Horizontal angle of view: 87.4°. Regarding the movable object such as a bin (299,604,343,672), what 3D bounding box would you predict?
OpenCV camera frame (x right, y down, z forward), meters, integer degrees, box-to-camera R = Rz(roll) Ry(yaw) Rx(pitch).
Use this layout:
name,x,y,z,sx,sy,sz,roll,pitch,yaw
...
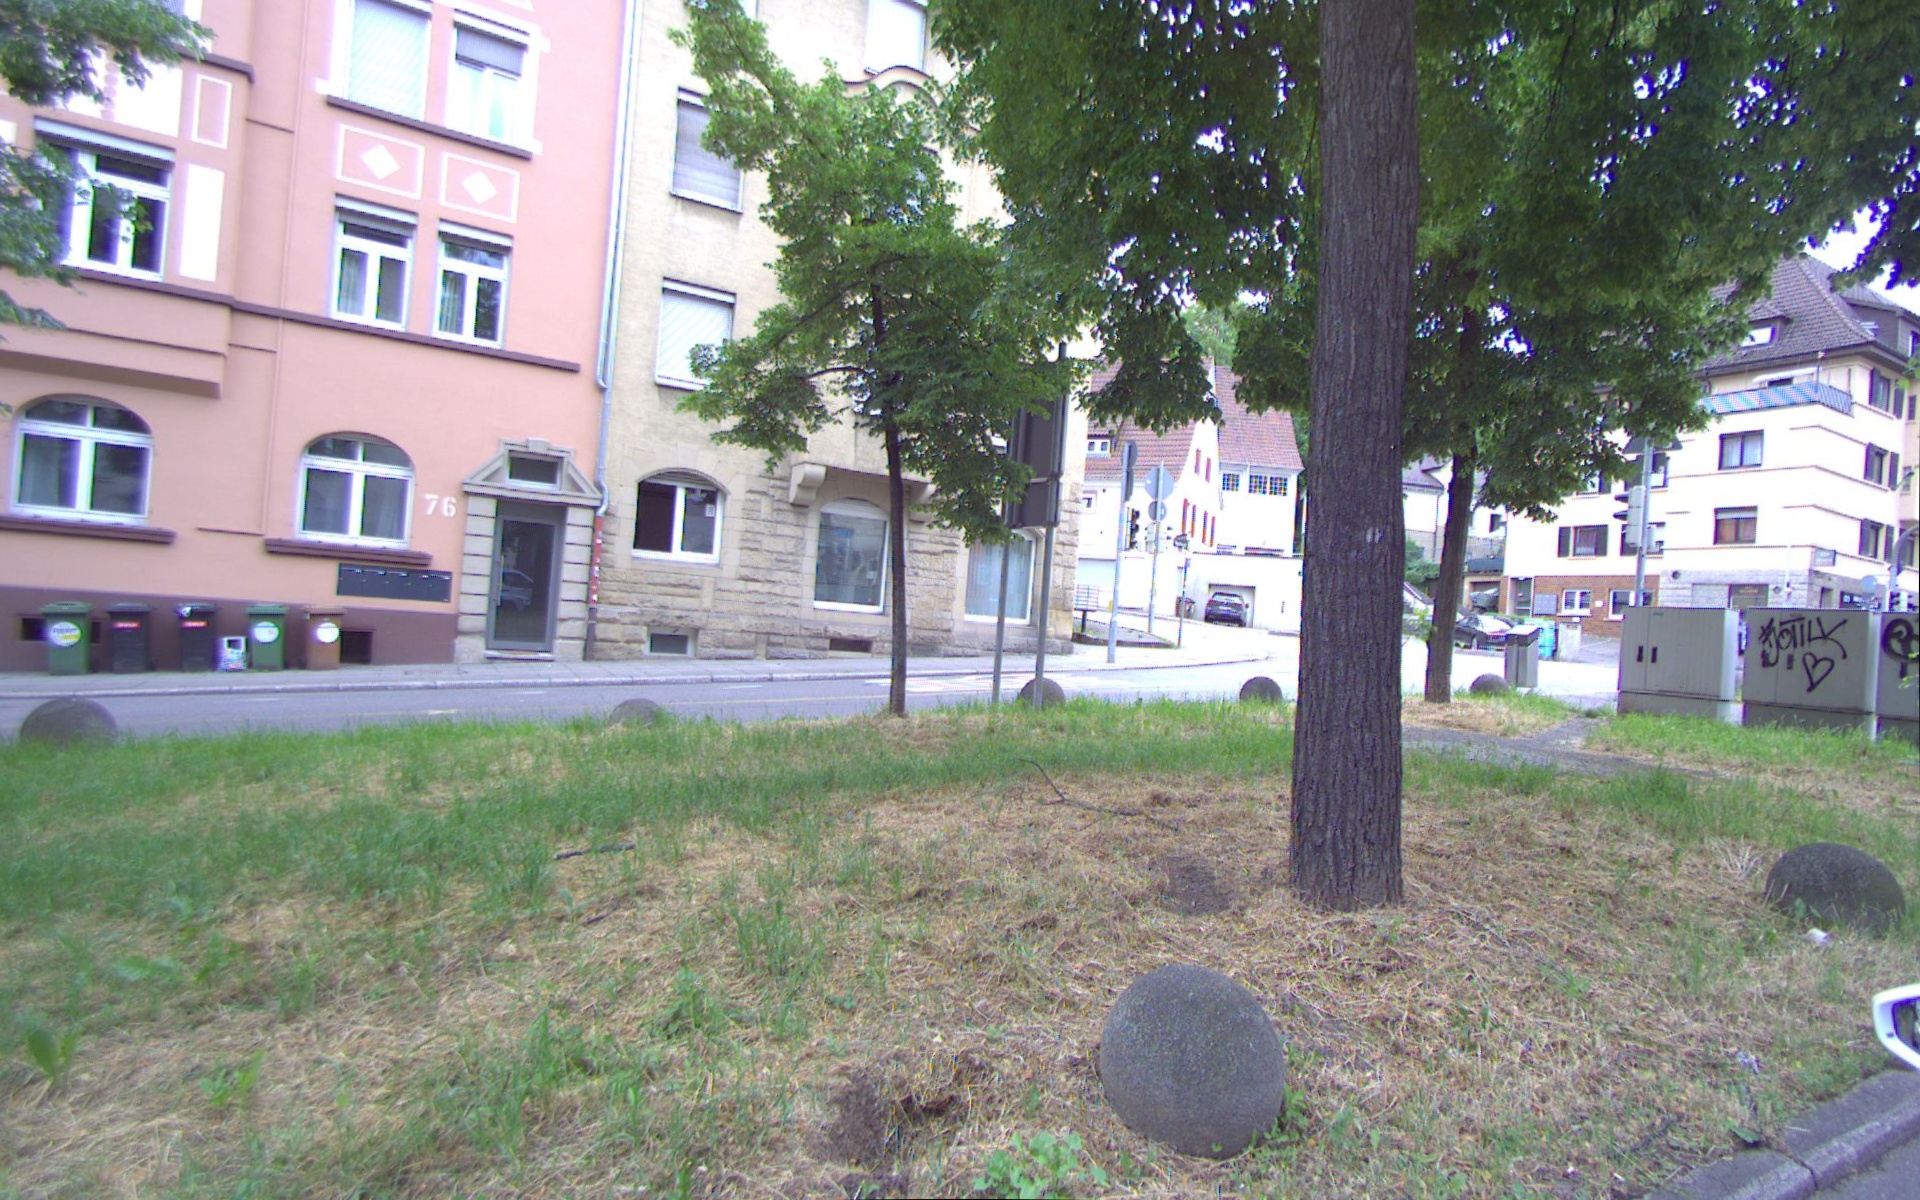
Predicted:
name,x,y,z,sx,sy,sz,roll,pitch,yaw
movable object such as a bin,-9.275,0.543,14.571,0.510,0.934,0.752,2,0,-34

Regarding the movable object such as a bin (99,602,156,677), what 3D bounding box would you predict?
name,x,y,z,sx,sy,sz,roll,pitch,yaw
movable object such as a bin,-11.162,0.522,13.475,0.528,0.958,0.576,2,0,-36

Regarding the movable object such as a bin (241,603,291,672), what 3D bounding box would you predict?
name,x,y,z,sx,sy,sz,roll,pitch,yaw
movable object such as a bin,-9.820,0.525,14.235,0.554,0.934,0.649,2,0,-34

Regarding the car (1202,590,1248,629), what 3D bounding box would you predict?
name,x,y,z,sx,sy,sz,roll,pitch,yaw
car,11.762,0.378,44.800,1.638,1.424,3.058,7,3,11

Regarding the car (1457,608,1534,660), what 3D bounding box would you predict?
name,x,y,z,sx,sy,sz,roll,pitch,yaw
car,21.855,1.336,41.147,1.832,1.619,3.519,2,6,13

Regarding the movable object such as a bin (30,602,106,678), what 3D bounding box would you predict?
name,x,y,z,sx,sy,sz,roll,pitch,yaw
movable object such as a bin,-11.658,0.516,13.142,0.611,0.961,0.613,2,0,-31
